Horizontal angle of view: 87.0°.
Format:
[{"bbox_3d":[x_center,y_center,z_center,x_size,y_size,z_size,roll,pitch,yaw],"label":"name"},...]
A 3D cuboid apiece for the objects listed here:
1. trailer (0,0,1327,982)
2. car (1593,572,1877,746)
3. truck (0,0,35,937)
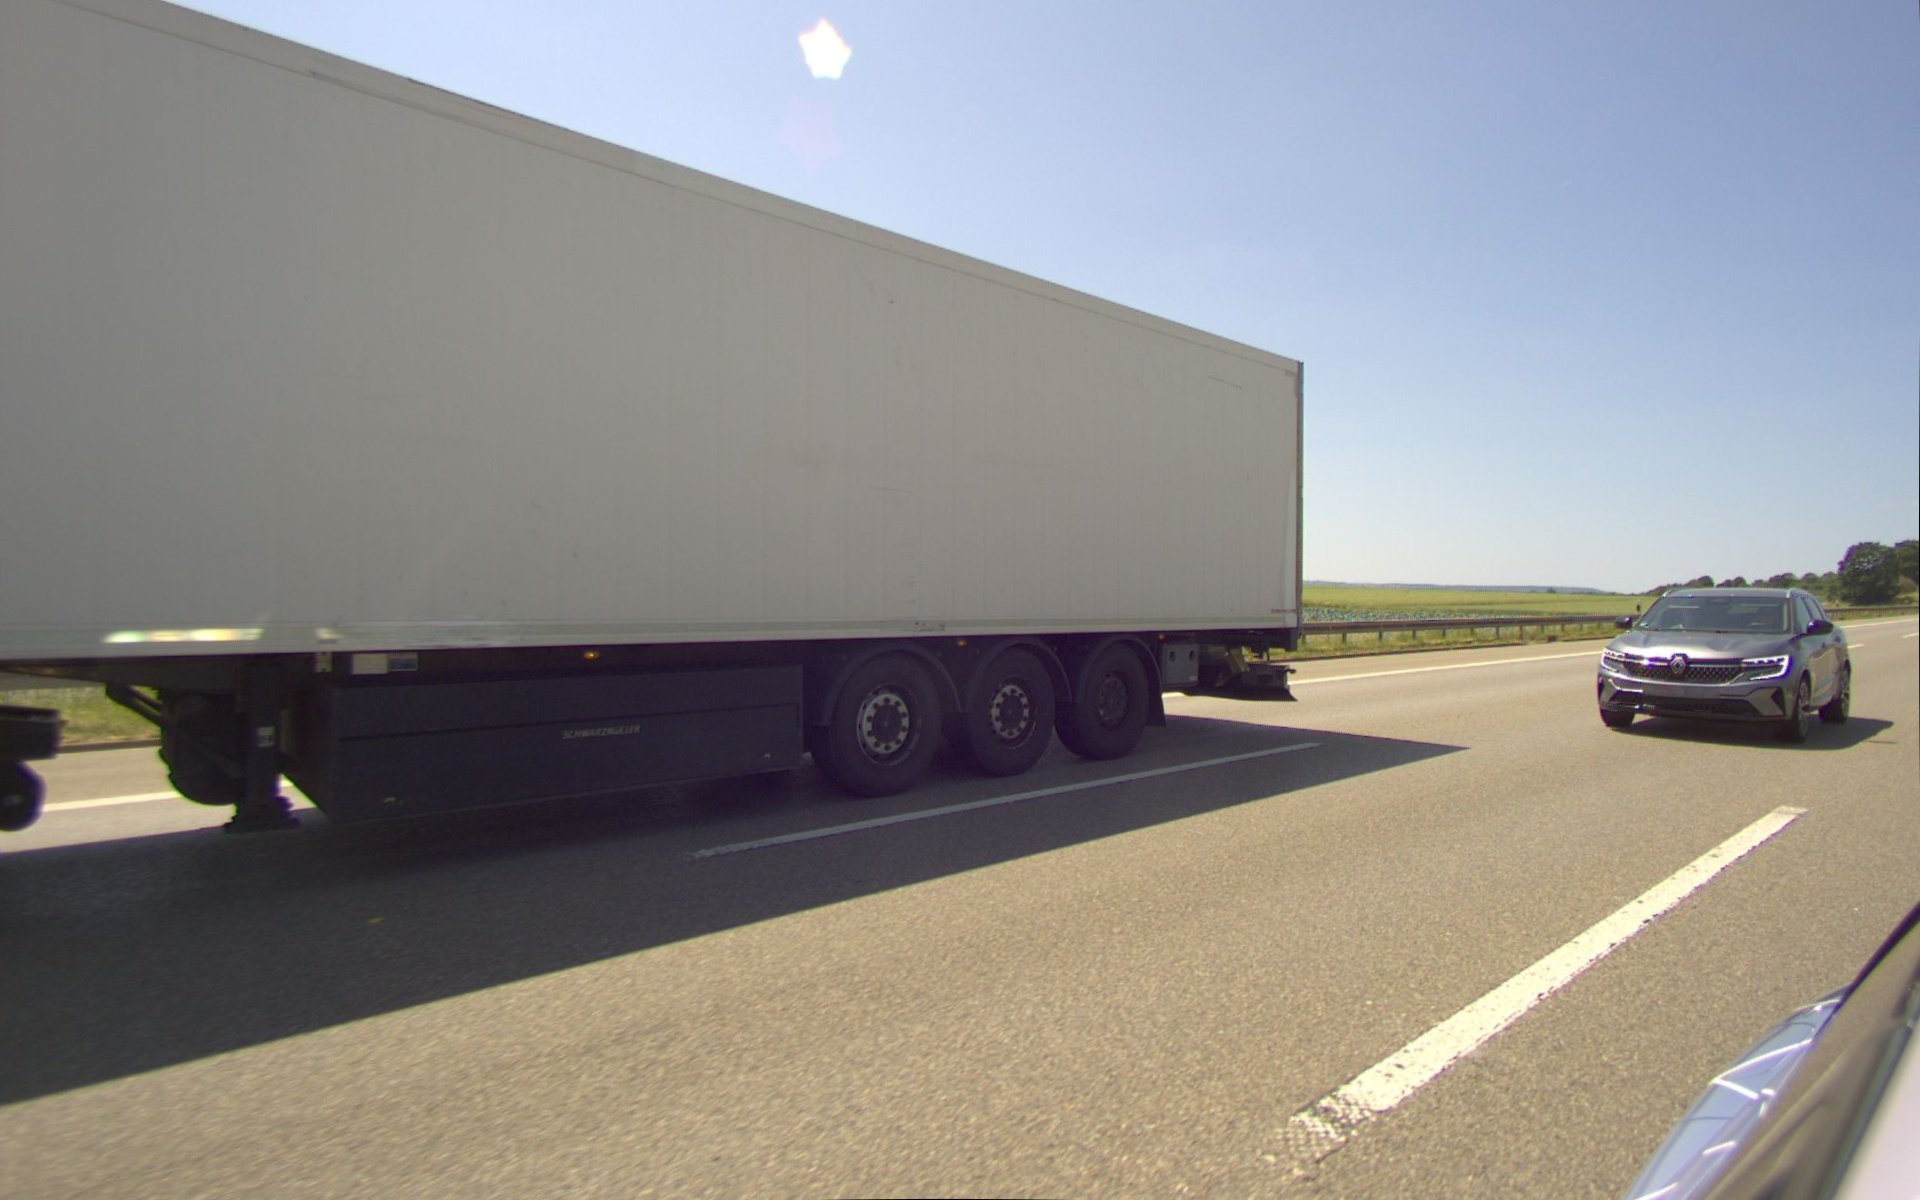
[{"bbox_3d":[-1.865,-0.650,7.708,13.064,4.273,2.872,-1,0,-41],"label":"trailer"},{"bbox_3d":[9.320,0.534,12.012,4.565,1.669,1.854,-1,2,-42],"label":"car"},{"bbox_3d":[-7.260,-0.702,2.879,6.761,4.143,2.866,0,0,-42],"label":"truck"}]
